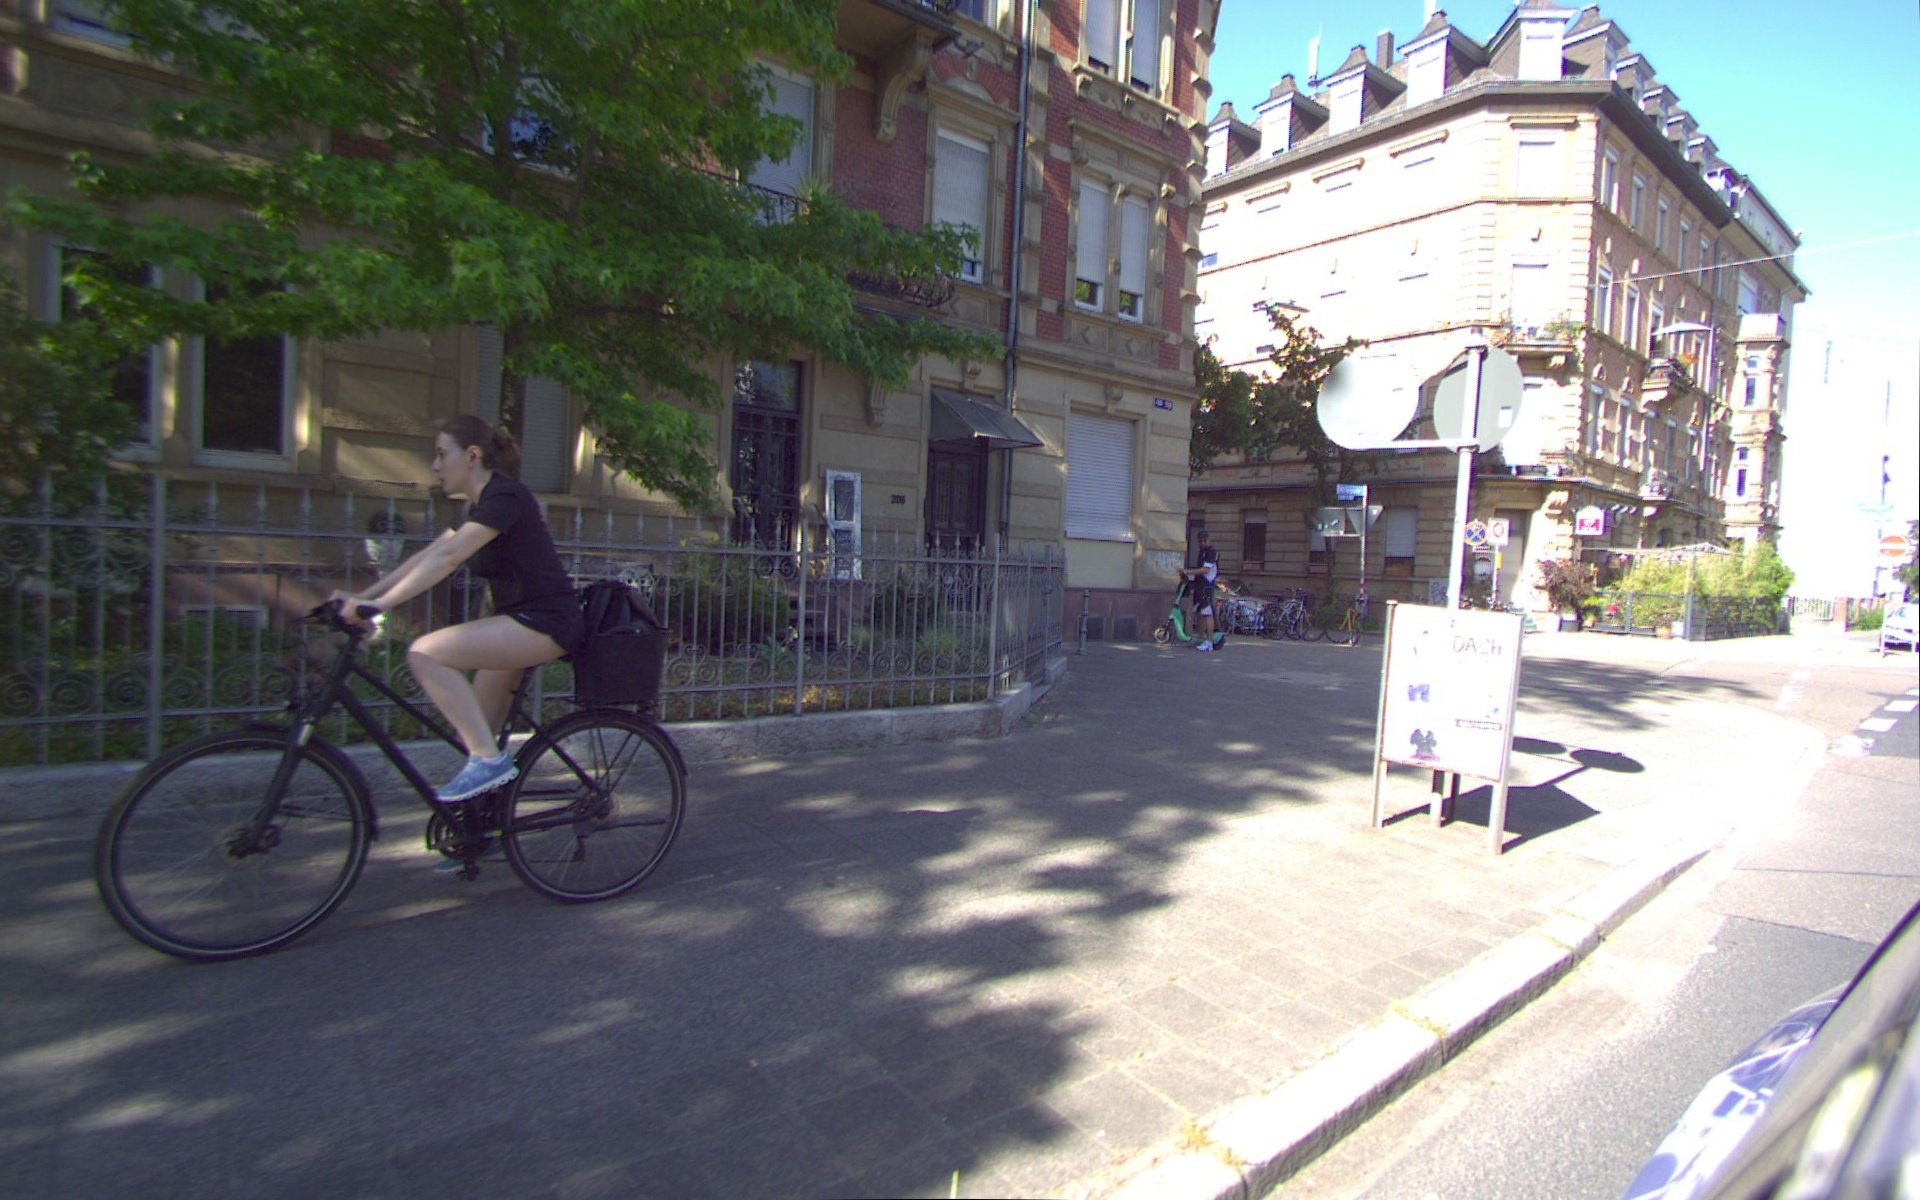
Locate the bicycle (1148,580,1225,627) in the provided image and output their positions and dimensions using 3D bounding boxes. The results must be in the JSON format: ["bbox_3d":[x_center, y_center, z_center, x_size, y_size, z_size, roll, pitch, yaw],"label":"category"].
[{"bbox_3d":[5.428,0.088,24.166,1.981,1.068,0.585,1,3,-36],"label":"bicycle"}]

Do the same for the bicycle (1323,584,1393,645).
[{"bbox_3d":[8.177,0.272,20.884,0.574,1.148,2.019,4,1,0],"label":"bicycle"}]

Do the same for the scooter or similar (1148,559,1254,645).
[{"bbox_3d":[3.826,0.033,16.103,1.380,1.278,0.763,1,4,-21],"label":"scooter or similar"}]

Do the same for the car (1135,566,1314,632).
[{"bbox_3d":[7.091,-0.062,27.546,2.009,1.434,4.423,1,4,-36],"label":"car"}]

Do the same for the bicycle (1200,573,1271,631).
[{"bbox_3d":[6.269,0.068,22.957,0.632,1.200,1.987,5,1,42],"label":"bicycle"}]

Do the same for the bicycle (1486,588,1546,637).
[{"bbox_3d":[14.377,0.305,26.155,1.985,1.148,0.734,-2,4,-43],"label":"bicycle"}]

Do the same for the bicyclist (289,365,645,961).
[{"bbox_3d":[-1.666,0.163,3.418,0.874,1.715,0.647,1,5,-42],"label":"bicyclist"}]

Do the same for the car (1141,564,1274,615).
[{"bbox_3d":[8.235,-0.386,33.988,2.009,1.434,3.939,1,4,-36],"label":"car"}]

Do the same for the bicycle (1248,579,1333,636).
[{"bbox_3d":[7.185,0.168,21.977,1.979,1.148,0.585,2,2,-33],"label":"bicycle"}]

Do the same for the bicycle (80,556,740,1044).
[{"bbox_3d":[-1.738,0.504,3.394,1.811,1.190,0.654,1,6,-43],"label":"bicycle"}]

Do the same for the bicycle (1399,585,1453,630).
[{"bbox_3d":[12.942,0.181,28.098,1.985,1.148,0.584,-2,5,-43],"label":"bicycle"}]

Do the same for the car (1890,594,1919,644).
[{"bbox_3d":[30.320,0.608,31.302,4.035,1.458,1.845,0,3,-42],"label":"car"}]

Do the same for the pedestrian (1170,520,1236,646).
[{"bbox_3d":[3.860,-0.263,16.055,0.760,1.917,0.686,4,-1,29],"label":"pedestrian"}]

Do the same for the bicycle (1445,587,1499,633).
[{"bbox_3d":[13.705,0.245,27.053,1.985,1.148,0.584,-1,5,-43],"label":"bicycle"}]
